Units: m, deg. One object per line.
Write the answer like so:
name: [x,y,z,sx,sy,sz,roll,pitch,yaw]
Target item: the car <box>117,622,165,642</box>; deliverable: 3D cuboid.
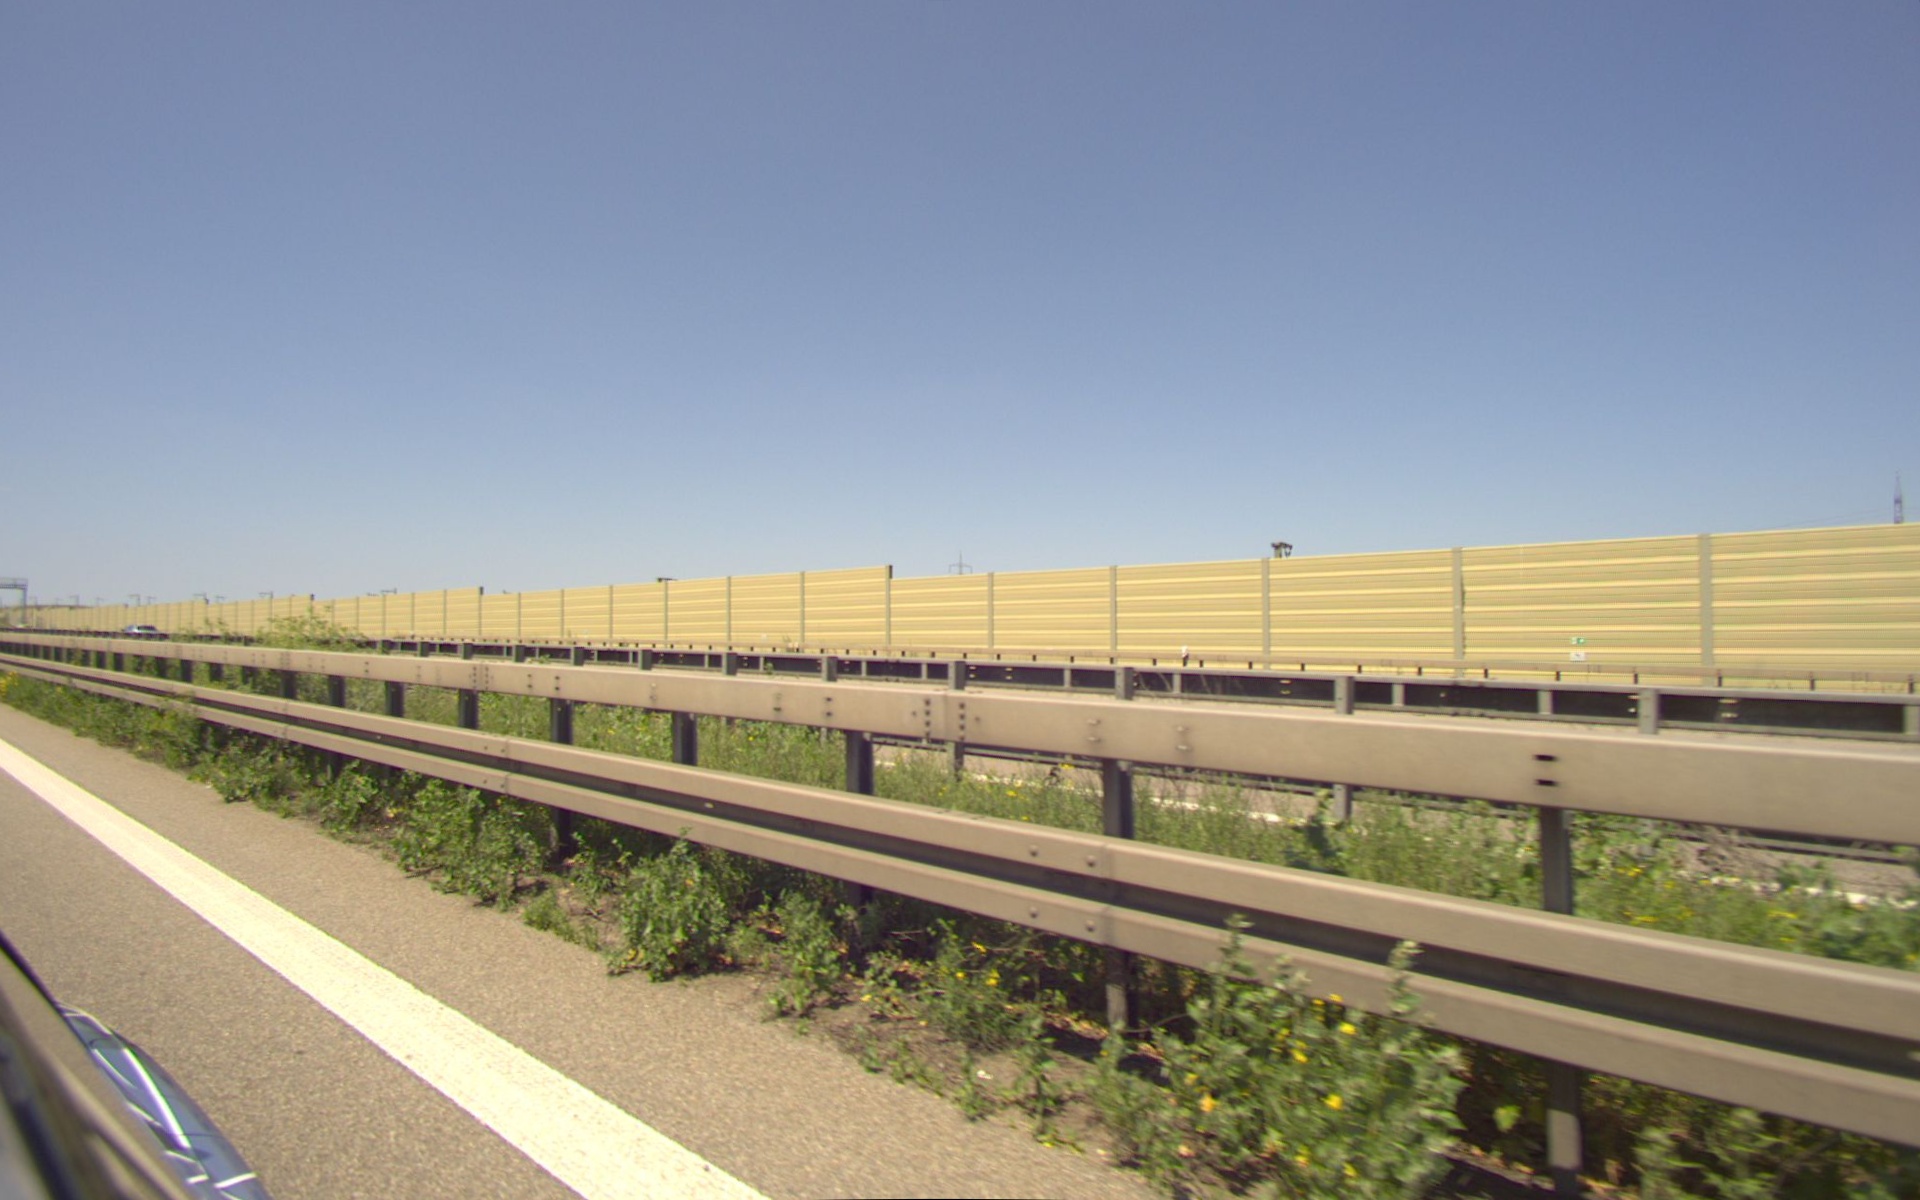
car: [-61.042,2.356,75.414,4.810,1.475,1.973,-1,-2,41]
